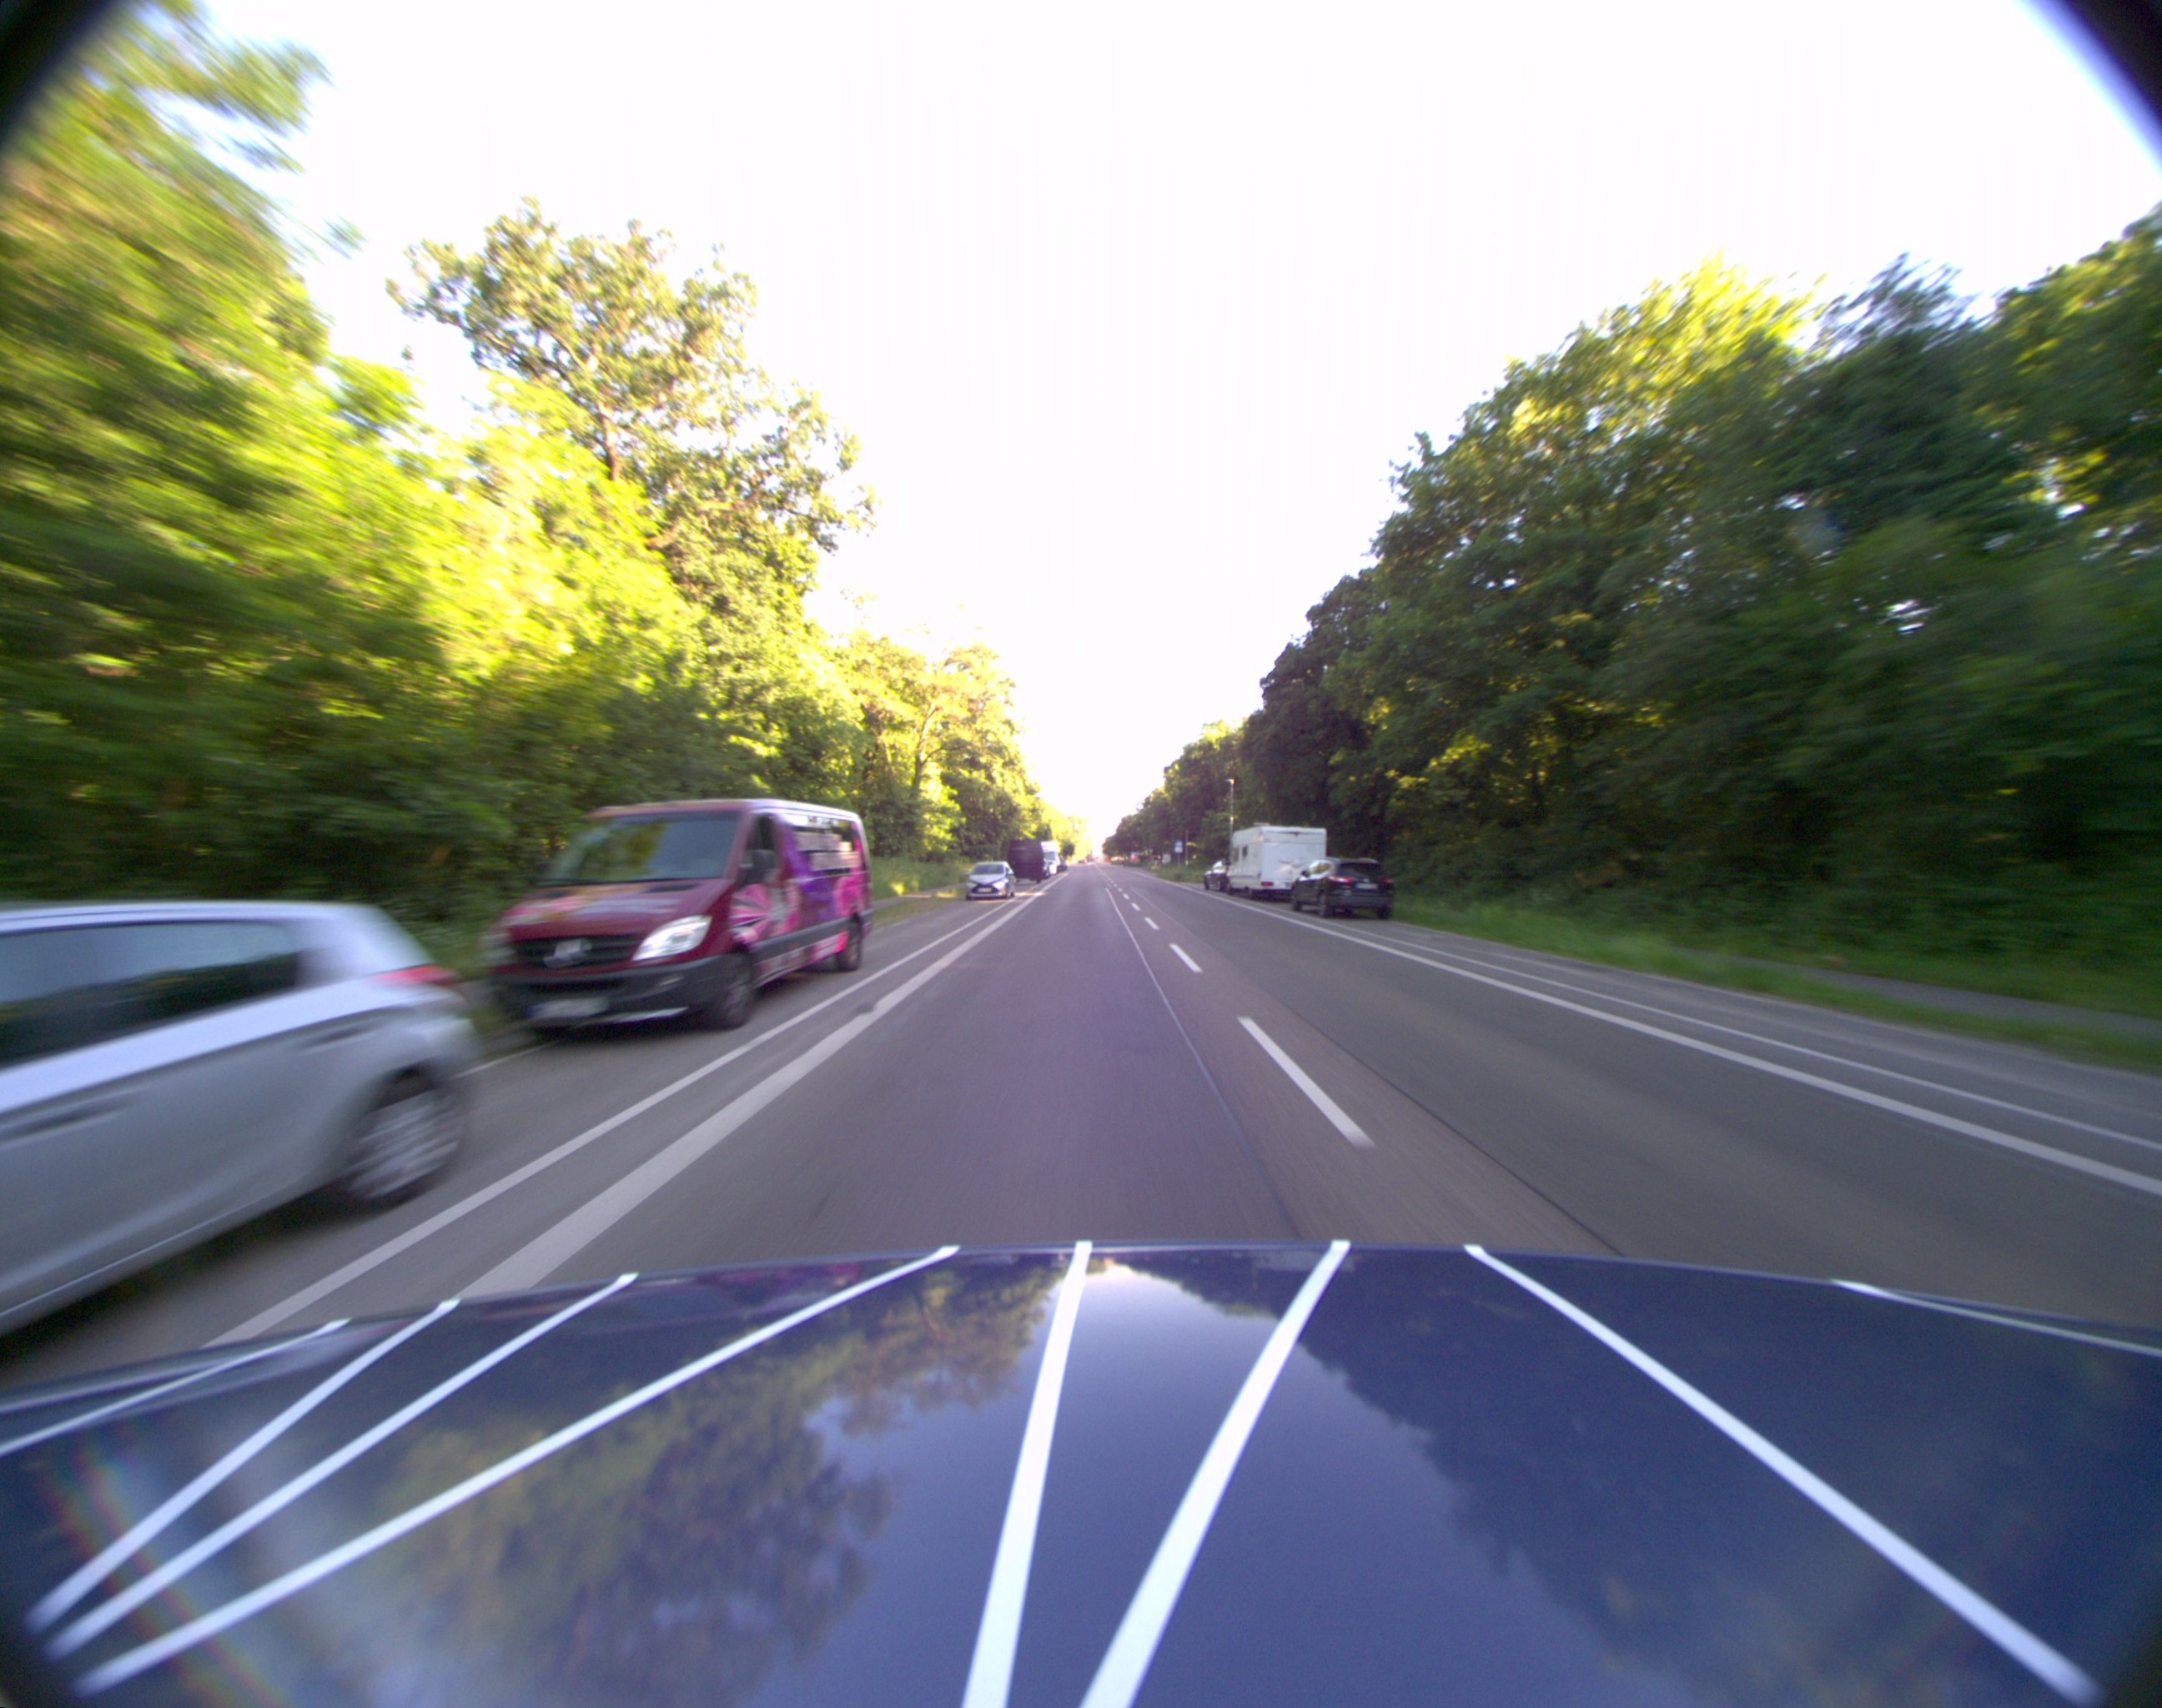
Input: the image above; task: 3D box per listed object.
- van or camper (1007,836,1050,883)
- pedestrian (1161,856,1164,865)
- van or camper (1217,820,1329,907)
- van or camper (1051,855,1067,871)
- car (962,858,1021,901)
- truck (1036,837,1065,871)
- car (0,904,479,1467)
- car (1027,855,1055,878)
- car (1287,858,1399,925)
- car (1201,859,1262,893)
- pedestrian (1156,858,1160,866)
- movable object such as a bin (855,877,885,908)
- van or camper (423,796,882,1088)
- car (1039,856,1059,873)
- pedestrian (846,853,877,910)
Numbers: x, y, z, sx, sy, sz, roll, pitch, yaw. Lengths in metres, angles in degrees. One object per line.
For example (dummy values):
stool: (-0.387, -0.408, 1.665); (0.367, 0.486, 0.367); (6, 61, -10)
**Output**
van or camper: (-3.383, 0.356, 49.395); (2.448, 2.783, 6.554); (-3, 0, -3)
pedestrian: (15.250, 1.285, 142.319); (0.676, 1.643, 0.790); (0, 0, 5)
van or camper: (7.294, 0.343, 29.932); (2.321, 2.952, 7.110); (2, 0, -2)
van or camper: (-2.818, 1.146, 97.874); (1.902, 2.002, 4.587); (0, 0, 1)
car: (-3.486, 0.957, 30.225); (1.716, 1.536, 4.023); (-2, 0, 2)
truck: (-3.284, -0.006, 82.853); (2.840, 3.477, 8.578); (0, 0, 0)
car: (-4.001, 1.038, 1.935); (1.752, 1.506, 3.999); (-2, 0, -1)
car: (-3.006, 0.938, 58.008); (1.716, 1.655, 4.552); (-2, 0, 2)
car: (7.128, 0.950, 21.147); (1.650, 1.622, 4.273); (2, 0, 1)
car: (7.167, 1.002, 36.688); (1.832, 1.467, 4.680); (1, 0, -2)
pedestrian: (14.479, 1.499, 142.361); (0.676, 1.643, 0.790); (0, 0, 5)
movable object such as a bin: (-7.525, 1.370, 27.165); (0.791, 1.041, 0.987); (0, 0, 1)
van or camper: (-4.197, 0.712, 9.056); (2.040, 2.298, 6.040); (1, 0, 0)
car: (-3.114, 1.019, 73.980); (1.716, 1.559, 4.000); (-2, 0, 1)
pedestrian: (-7.511, 0.934, 26.000); (0.770, 1.907, 0.920); (0, 0, 1)
